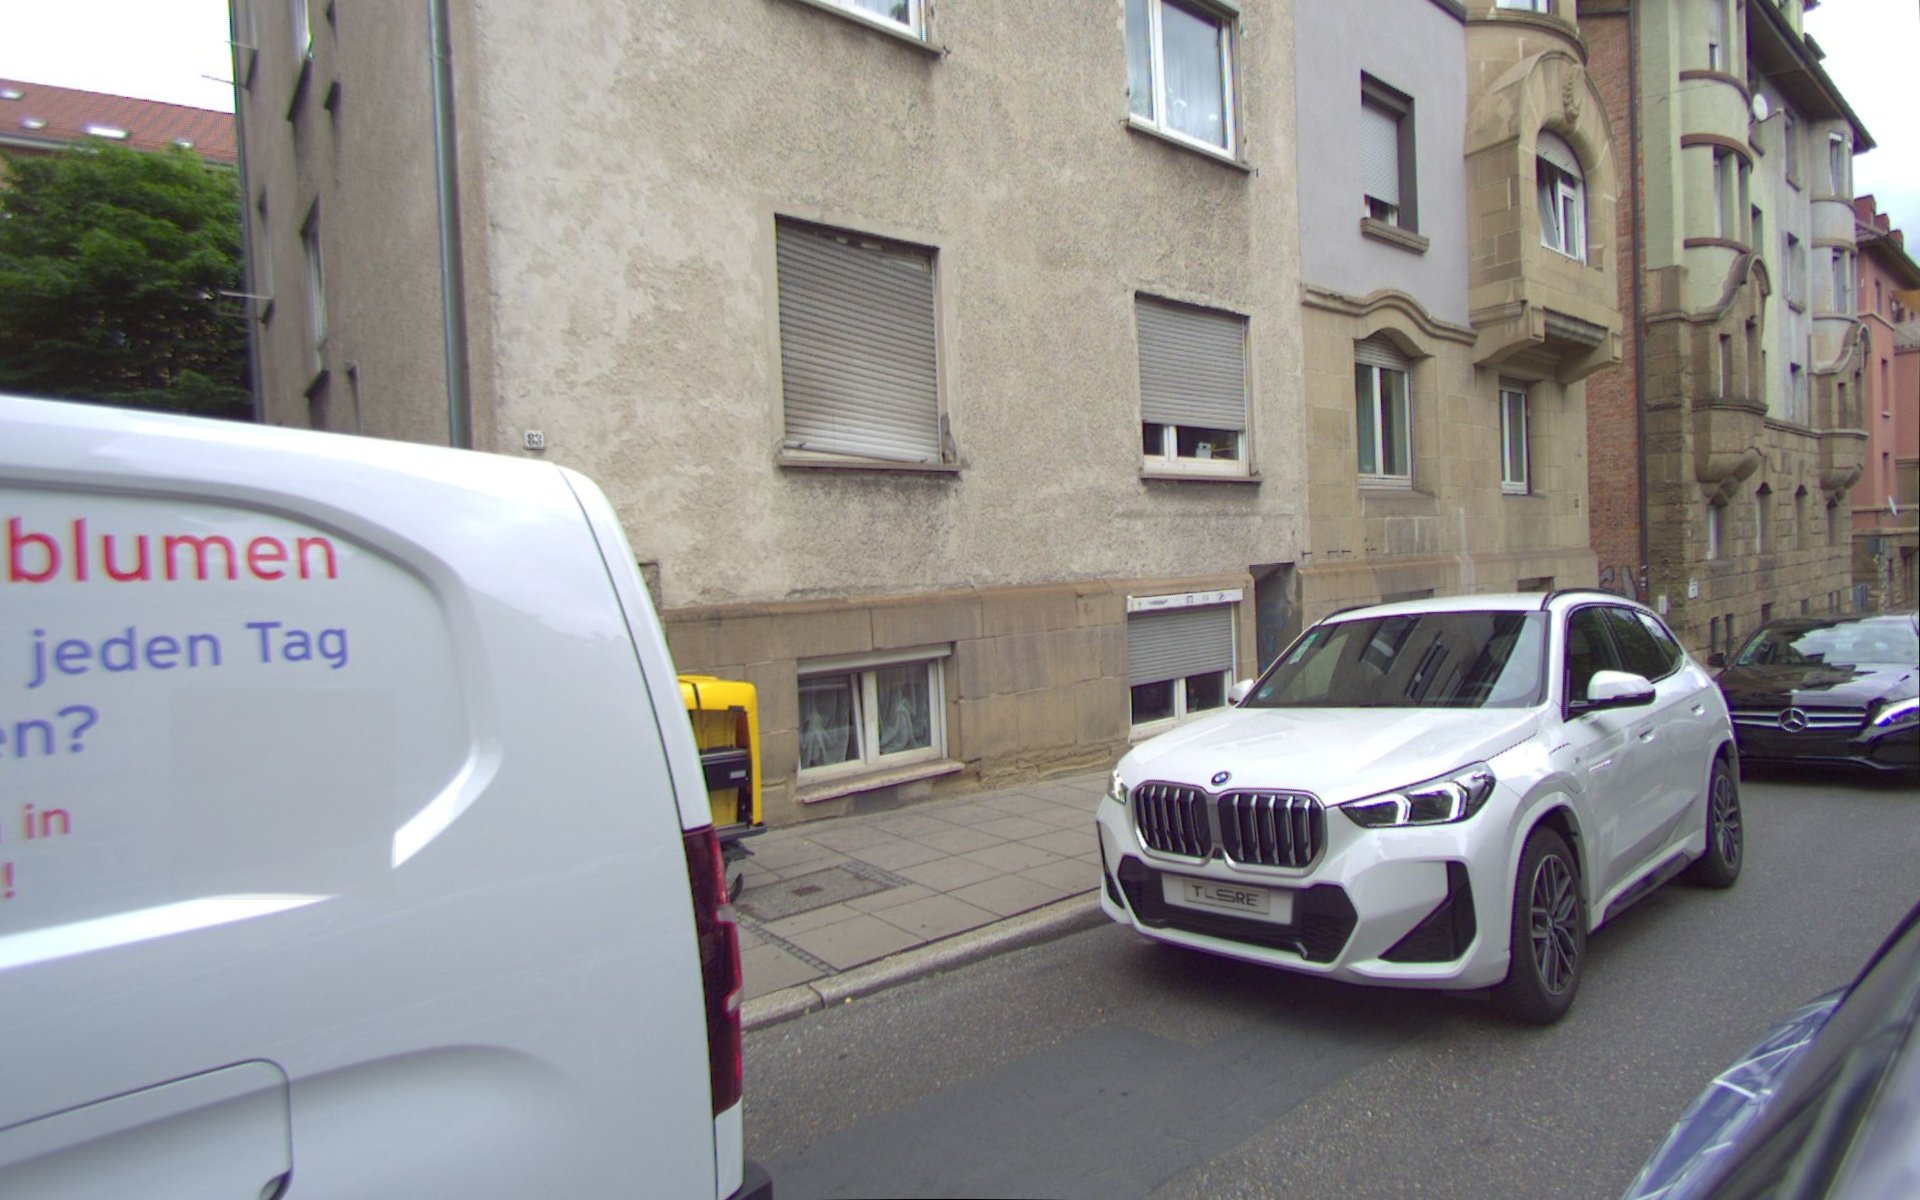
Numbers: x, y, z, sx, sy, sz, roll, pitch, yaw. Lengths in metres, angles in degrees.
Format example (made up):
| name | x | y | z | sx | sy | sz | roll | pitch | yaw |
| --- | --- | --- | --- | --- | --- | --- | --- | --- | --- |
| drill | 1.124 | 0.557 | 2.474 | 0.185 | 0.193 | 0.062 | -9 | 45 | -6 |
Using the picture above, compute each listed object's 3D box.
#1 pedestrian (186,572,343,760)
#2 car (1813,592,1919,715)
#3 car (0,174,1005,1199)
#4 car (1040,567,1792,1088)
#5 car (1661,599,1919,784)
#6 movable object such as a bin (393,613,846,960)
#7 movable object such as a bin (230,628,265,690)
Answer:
| name | x | y | z | sx | sy | sz | roll | pitch | yaw |
| --- | --- | --- | --- | --- | --- | --- | --- | --- | --- |
| pedestrian | -6.626 | 0.606 | 9.674 | 0.800 | 1.666 | 0.780 | -2 | 4 | 19 |
| car | 13.569 | 0.646 | 13.969 | 4.226 | 1.534 | 1.935 | -1 | -3 | -40 |
| car | -2.294 | 0.565 | 0.929 | 4.597 | 1.798 | 1.977 | -1 | -3 | -42 |
| car | 2.600 | 0.728 | 5.213 | 4.276 | 1.576 | 1.857 | -1 | -4 | -42 |
| car | 8.442 | 0.729 | 9.626 | 4.133 | 1.395 | 1.882 | -1 | -3 | -41 |
| movable object such as a bin | -1.770 | 0.804 | 5.408 | 1.979 | 1.391 | 1.223 | -1 | 2 | -43 |
| movable object such as a bin | -10.976 | 0.898 | 15.590 | 0.405 | 0.923 | 0.340 | 0 | 0 | -40 |
